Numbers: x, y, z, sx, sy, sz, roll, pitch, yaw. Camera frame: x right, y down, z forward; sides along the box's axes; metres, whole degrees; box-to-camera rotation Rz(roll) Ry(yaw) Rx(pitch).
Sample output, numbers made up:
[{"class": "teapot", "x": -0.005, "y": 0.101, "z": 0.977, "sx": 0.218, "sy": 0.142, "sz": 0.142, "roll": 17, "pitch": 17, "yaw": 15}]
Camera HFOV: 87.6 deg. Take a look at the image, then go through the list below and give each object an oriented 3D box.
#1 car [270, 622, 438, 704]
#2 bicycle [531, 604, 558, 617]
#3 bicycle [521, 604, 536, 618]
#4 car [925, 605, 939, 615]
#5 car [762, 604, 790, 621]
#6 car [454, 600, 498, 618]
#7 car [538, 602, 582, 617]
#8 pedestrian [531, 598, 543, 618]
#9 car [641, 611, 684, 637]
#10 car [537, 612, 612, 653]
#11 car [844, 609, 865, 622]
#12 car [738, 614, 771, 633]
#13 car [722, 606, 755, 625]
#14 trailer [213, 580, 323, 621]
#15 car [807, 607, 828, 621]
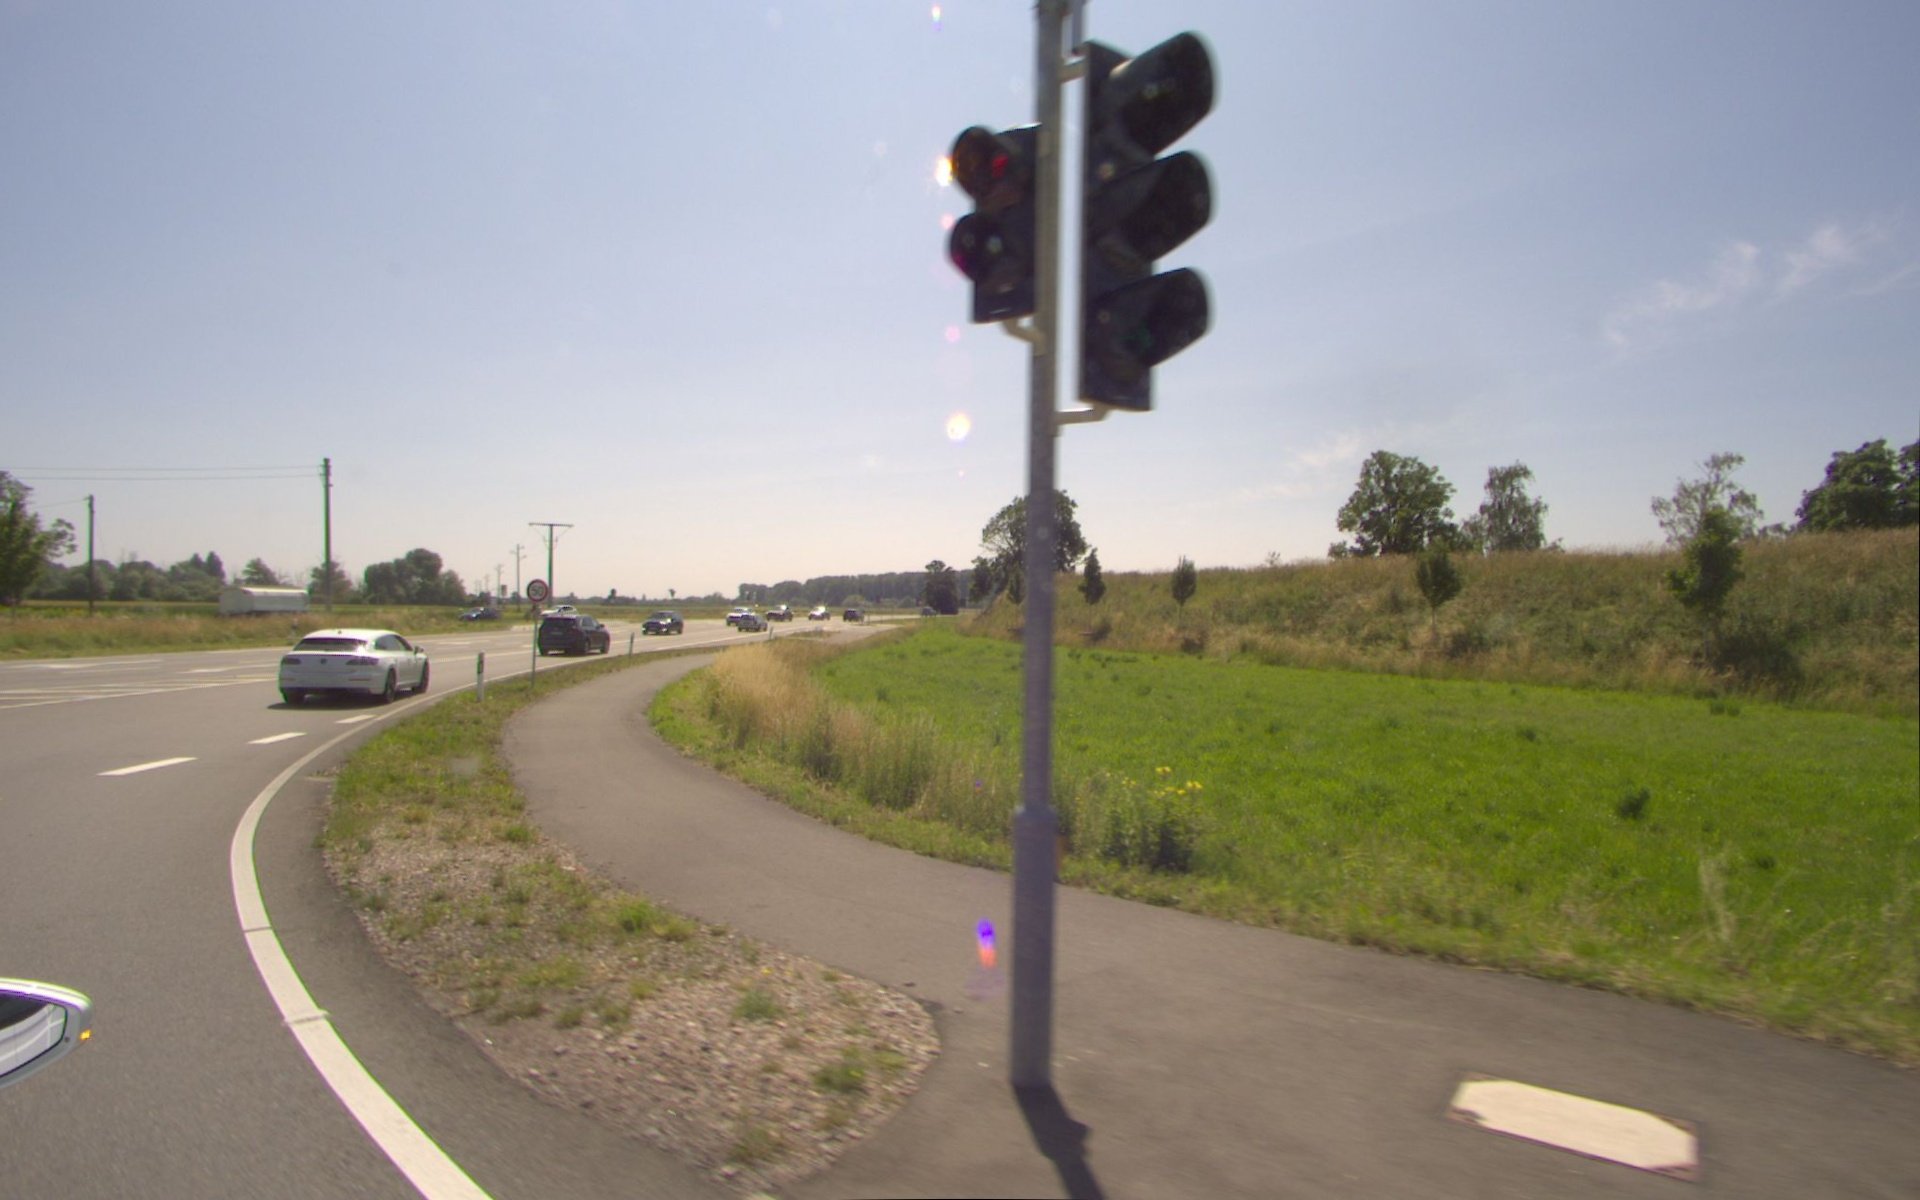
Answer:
[{"class": "car", "x": -12.388, "y": 1.231, "z": 20.817, "sx": 1.821, "sy": 1.452, "sz": 4.600, "roll": 3, "pitch": -2, "yaw": -17}, {"class": "bicycle", "x": -45.766, "y": 1.116, "z": 110.350, "sx": 2.568, "sy": 1.389, "sz": 0.902, "roll": 0, "pitch": -2, "yaw": -12}, {"class": "bicycle", "x": -39.684, "y": 1.025, "z": 92.084, "sx": 0.483, "sy": 1.264, "sz": 1.510, "roll": 2, "pitch": -1, "yaw": 8}, {"class": "car", "x": -4.467, "y": 1.703, "z": 162.550, "sx": 1.771, "sy": 1.541, "sz": 3.883, "roll": -1, "pitch": -1, "yaw": 6}, {"class": "car", "x": -20.530, "y": 1.402, "z": 111.808, "sx": 2.045, "sy": 1.746, "sz": 4.416, "roll": 0, "pitch": -2, "yaw": 3}, {"class": "car", "x": -42.159, "y": 0.796, "z": 87.322, "sx": 1.646, "sy": 1.405, "sz": 3.839, "roll": 2, "pitch": -1, "yaw": 7}, {"class": "car", "x": -40.233, "y": 0.953, "z": 100.860, "sx": 1.669, "sy": 1.349, "sz": 4.026, "roll": 2, "pitch": -1, "yaw": 25}, {"class": "pedestrian", "x": -39.059, "y": 0.756, "z": 92.472, "sx": 0.599, "sy": 1.808, "sz": 0.846, "roll": 2, "pitch": 0, "yaw": 9}, {"class": "car", "x": -20.531, "y": 1.621, "z": 69.241, "sx": 1.835, "sy": 1.672, "sz": 4.326, "roll": 2, "pitch": 0, "yaw": -3}, {"class": "car", "x": -16.255, "y": 1.376, "z": 42.421, "sx": 1.904, "sy": 1.637, "sz": 4.379, "roll": 0, "pitch": -2, "yaw": -6}, {"class": "car", "x": -12.727, "y": 1.872, "z": 121.081, "sx": 1.770, "sy": 1.495, "sz": 4.416, "roll": 0, "pitch": -2, "yaw": 4}, {"class": "car", "x": -16.624, "y": 1.926, "z": 81.114, "sx": 1.770, "sy": 1.447, "sz": 4.095, "roll": 0, "pitch": -2, "yaw": 1}, {"class": "car", "x": -20.608, "y": 1.479, "z": 93.392, "sx": 1.847, "sy": 1.672, "sz": 4.844, "roll": 2, "pitch": -1, "yaw": 1}, {"class": "trailer", "x": -46.440, "y": 0.047, "z": 67.439, "sx": 2.634, "sy": 2.488, "sz": 6.383, "roll": 2, "pitch": 0, "yaw": 3}, {"class": "car", "x": -17.257, "y": 1.735, "z": 121.574, "sx": 1.704, "sy": 1.576, "sz": 4.416, "roll": 0, "pitch": -2, "yaw": 3}]
